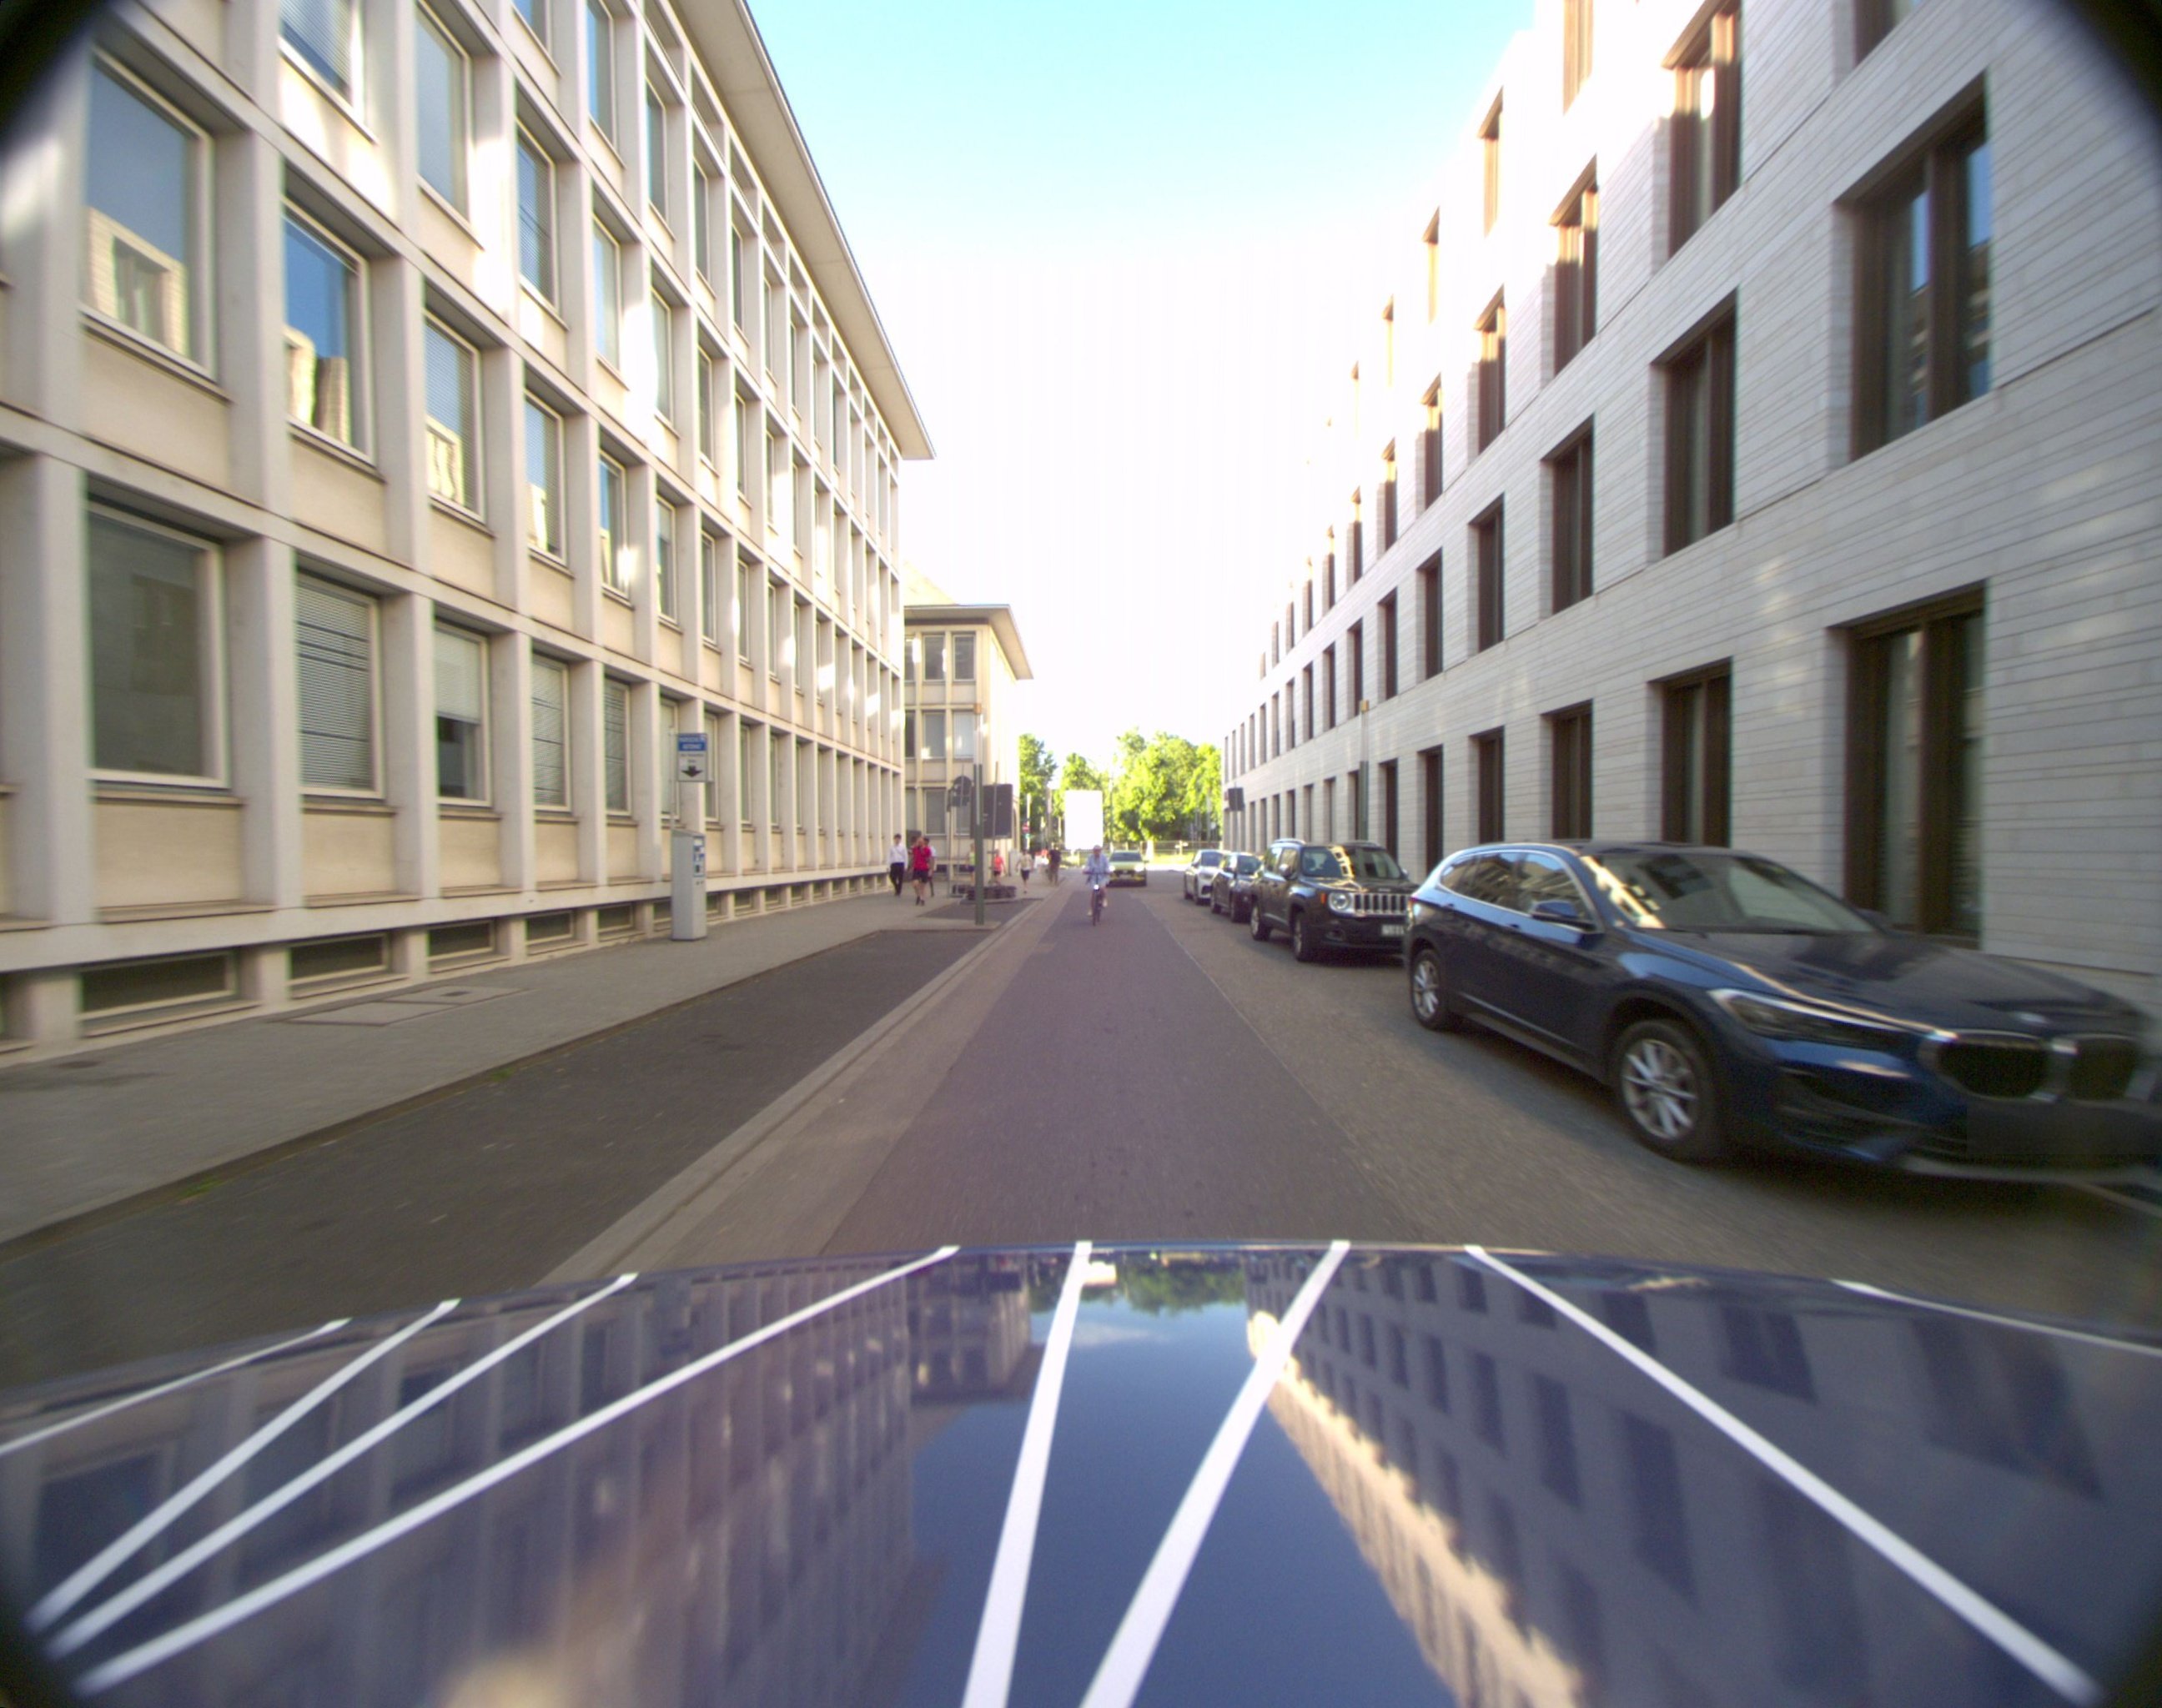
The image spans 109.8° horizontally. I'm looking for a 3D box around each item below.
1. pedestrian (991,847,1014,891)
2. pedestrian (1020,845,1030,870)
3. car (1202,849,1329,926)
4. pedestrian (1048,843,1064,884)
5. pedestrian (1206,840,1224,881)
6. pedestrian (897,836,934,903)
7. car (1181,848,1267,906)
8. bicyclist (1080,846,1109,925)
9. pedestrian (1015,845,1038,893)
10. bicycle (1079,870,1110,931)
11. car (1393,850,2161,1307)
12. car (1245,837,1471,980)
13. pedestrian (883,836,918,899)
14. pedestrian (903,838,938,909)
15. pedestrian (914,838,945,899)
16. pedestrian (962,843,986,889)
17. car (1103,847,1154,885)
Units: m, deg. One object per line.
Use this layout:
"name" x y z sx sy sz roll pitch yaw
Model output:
"pedestrian" -2.958 0.557 28.647 0.684 1.627 0.693 2 1 3
"pedestrian" -3.735 0.222 50.969 0.626 1.633 0.623 -1 2 -4
"car" 4.055 0.654 17.416 1.827 1.533 4.263 -1 1 0
"pedestrian" -1.121 0.432 33.929 0.643 1.780 0.575 2 2 2
"pedestrian" 5.960 0.290 33.723 0.645 1.780 0.816 -1 2 2
"pedestrian" -4.558 0.424 20.940 0.684 1.768 0.693 5 2 3
"car" 4.173 0.603 22.875 1.827 1.533 4.446 1 1 1
"bicyclist" 0.308 0.672 16.544 0.585 1.680 0.538 -1 2 2
"pedestrian" -2.009 0.551 28.147 0.684 1.706 0.693 3 1 3
"bicycle" 0.311 0.958 16.359 0.595 1.077 2.310 -1 2 2
"car" 3.691 0.799 4.769 1.744 1.585 4.153 2 1 1
"car" 3.823 0.649 11.307 1.827 1.705 4.017 2 1 0
"pedestrian" -5.308 0.387 22.382 0.684 1.768 0.693 5 2 3
"pedestrian" -4.118 0.480 19.524 0.684 1.768 0.593 3 1 3
"pedestrian" -4.453 0.416 22.387 0.684 1.768 0.693 2 1 3
"pedestrian" -4.022 0.444 28.669 0.684 1.706 0.693 3 1 3
"car" 2.018 0.470 33.510 1.998 1.451 4.435 -1 2 1
